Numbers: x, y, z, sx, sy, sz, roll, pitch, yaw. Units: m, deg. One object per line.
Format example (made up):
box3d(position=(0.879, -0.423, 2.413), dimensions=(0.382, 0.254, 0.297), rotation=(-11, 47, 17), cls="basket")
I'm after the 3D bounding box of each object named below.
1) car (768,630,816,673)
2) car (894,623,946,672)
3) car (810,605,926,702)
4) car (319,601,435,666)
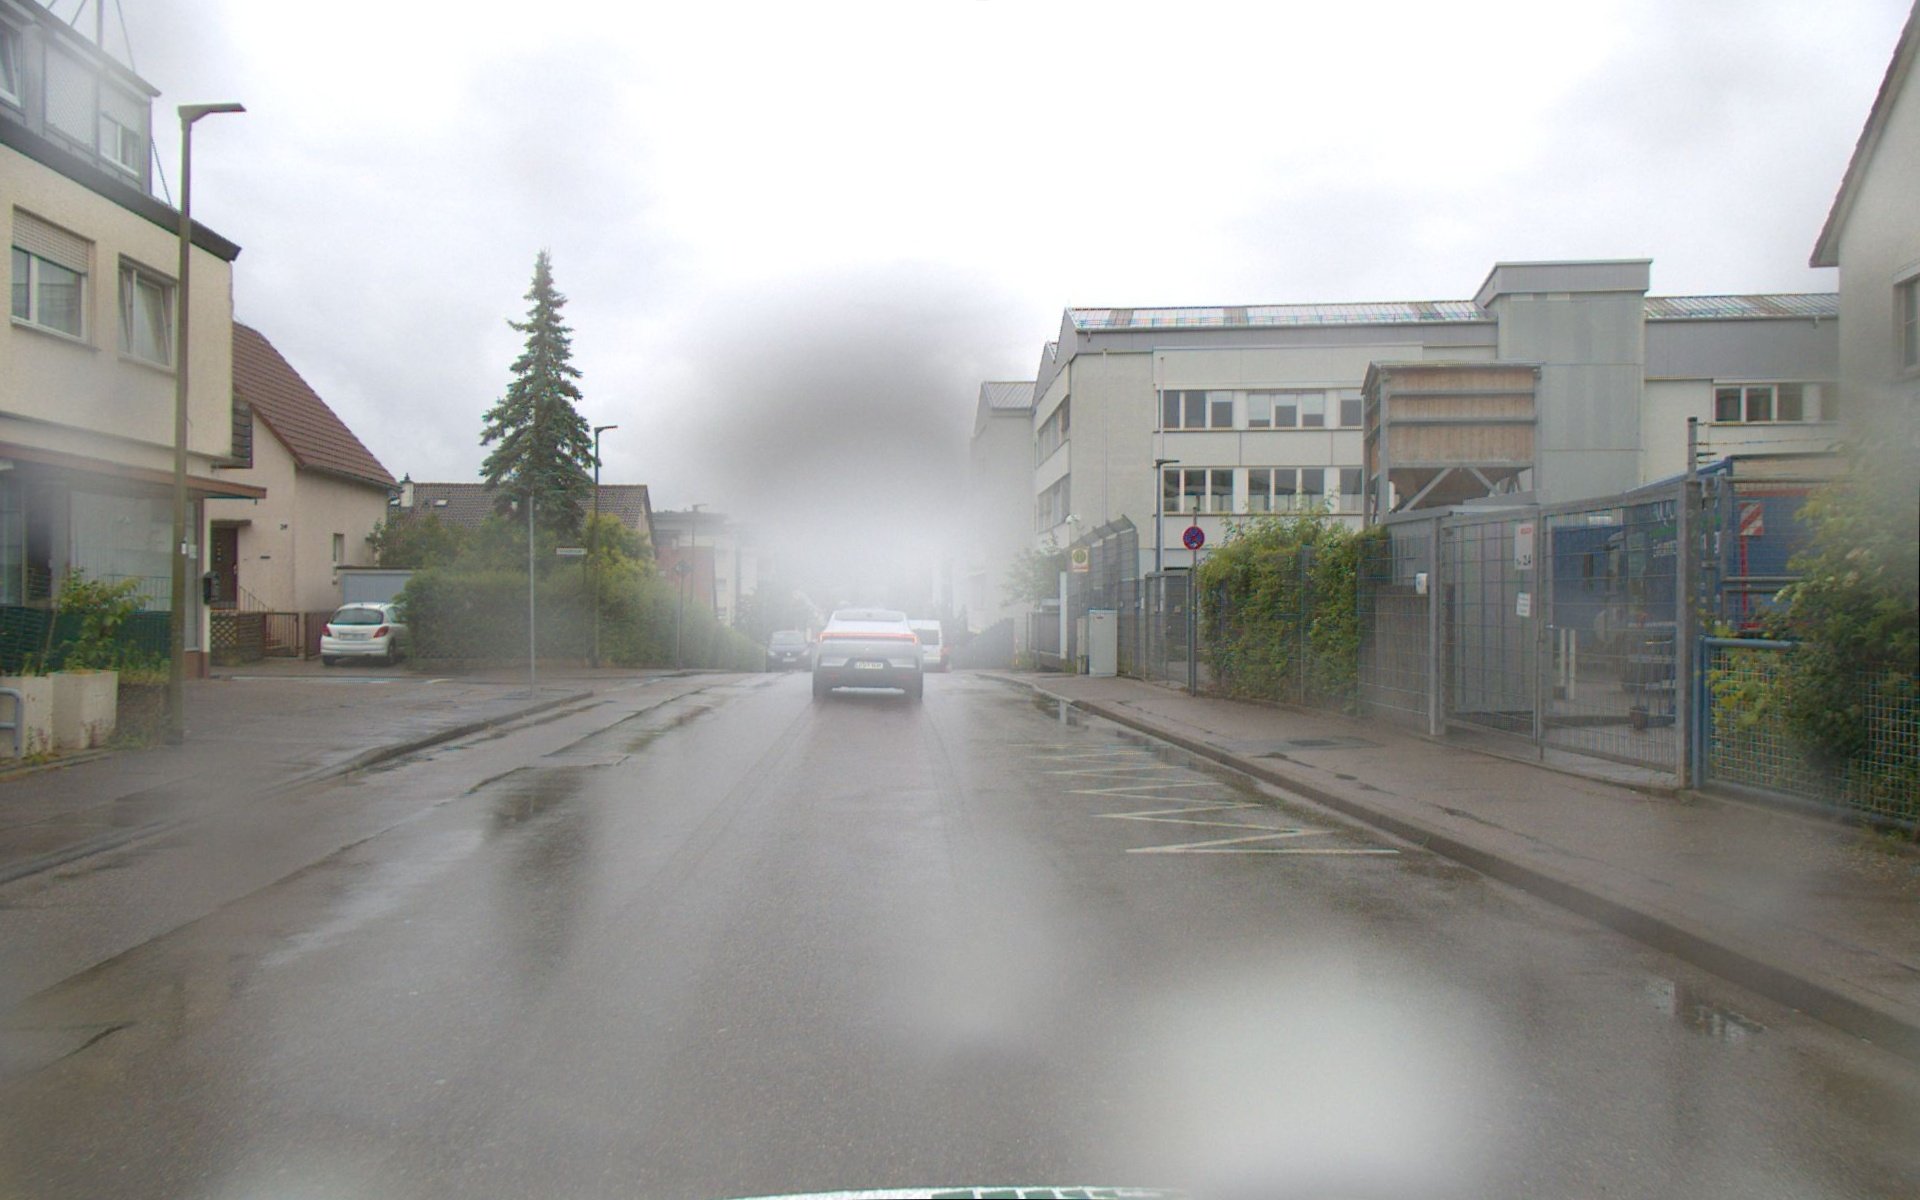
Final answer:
box3d(position=(-6.294, 1.900, 62.216), dimensions=(1.643, 1.554, 3.996), rotation=(0, -1, -4), cls="car")
box3d(position=(-1.796, 2.138, 73.035), dimensions=(1.955, 2.049, 3.993), rotation=(0, -3, -7), cls="car")
box3d(position=(-1.641, 0.910, 30.395), dimensions=(1.953, 1.528, 4.668), rotation=(1, 1, -2), cls="car")
box3d(position=(-14.936, 0.829, 42.549), dimensions=(1.758, 1.534, 3.998), rotation=(0, 1, -3), cls="car")
